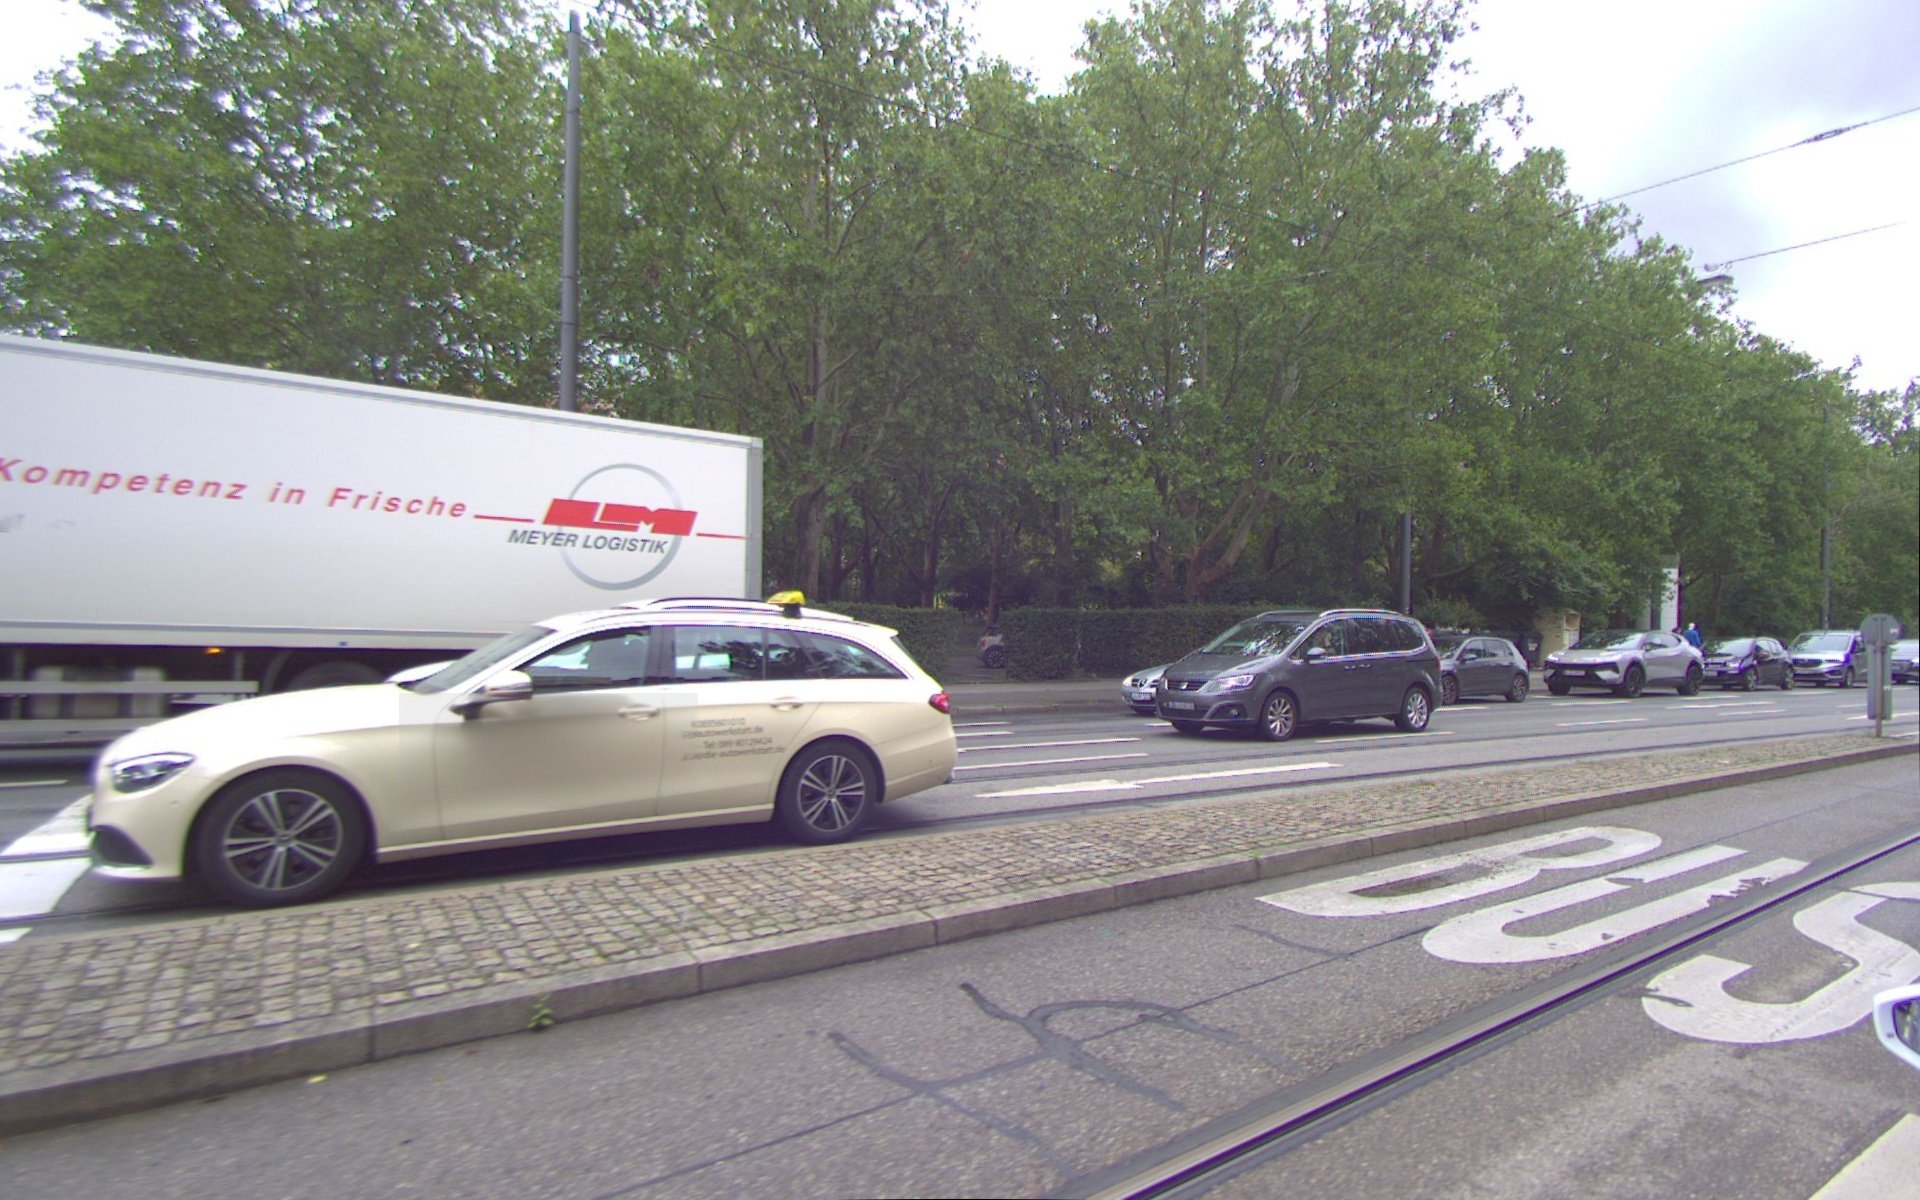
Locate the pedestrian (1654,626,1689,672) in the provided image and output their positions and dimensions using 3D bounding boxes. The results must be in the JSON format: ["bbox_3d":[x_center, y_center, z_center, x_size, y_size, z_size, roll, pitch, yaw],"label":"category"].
[{"bbox_3d":[27.144,1.846,38.338,0.974,1.707,0.662,0,1,-22],"label":"pedestrian"}]

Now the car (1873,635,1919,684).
[{"bbox_3d":[34.443,2.112,35.669,4.536,1.656,1.790,2,-1,-31],"label":"car"}]

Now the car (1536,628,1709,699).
[{"bbox_3d":[17.150,1.610,25.950,4.942,1.664,1.790,2,-1,-31],"label":"car"}]

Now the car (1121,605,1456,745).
[{"bbox_3d":[4.733,0.981,14.230,4.835,1.705,1.813,2,-1,-31],"label":"car"}]

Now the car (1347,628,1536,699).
[{"bbox_3d":[10.536,1.349,21.945,4.052,1.399,1.813,2,-1,-31],"label":"car"}]

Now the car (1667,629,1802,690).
[{"bbox_3d":[23.310,1.754,30.197,4.304,1.689,1.790,2,-1,-31],"label":"car"}]

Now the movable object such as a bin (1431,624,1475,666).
[{"bbox_3d":[17.127,1.564,34.897,1.072,1.371,0.928,2,2,-35],"label":"movable object such as a bin"}]

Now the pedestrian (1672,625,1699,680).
[{"bbox_3d":[27.202,1.961,37.666,0.669,2.040,0.584,2,-1,-30],"label":"pedestrian"}]

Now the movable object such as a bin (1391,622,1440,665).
[{"bbox_3d":[15.195,1.436,33.486,1.265,1.371,0.928,2,1,-35],"label":"movable object such as a bin"}]

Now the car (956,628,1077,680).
[{"bbox_3d":[1.948,1.830,34.179,3.836,1.664,1.676,2,-1,-30],"label":"car"}]

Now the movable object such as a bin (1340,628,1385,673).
[{"bbox_3d":[12.802,1.608,31.951,1.003,1.371,0.928,2,0,-35],"label":"movable object such as a bin"}]

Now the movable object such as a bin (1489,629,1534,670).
[{"bbox_3d":[19.787,1.754,36.031,1.147,1.371,0.928,2,2,-35],"label":"movable object such as a bin"}]

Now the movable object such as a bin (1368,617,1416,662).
[{"bbox_3d":[14.054,1.291,32.656,1.118,1.371,0.928,2,2,-35],"label":"movable object such as a bin"}]

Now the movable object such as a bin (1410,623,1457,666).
[{"bbox_3d":[16.173,1.509,34.309,1.072,1.371,0.928,2,4,-35],"label":"movable object such as a bin"}]

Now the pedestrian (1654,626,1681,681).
[{"bbox_3d":[26.915,2.020,38.204,0.669,2.040,0.584,2,-1,-30],"label":"pedestrian"}]

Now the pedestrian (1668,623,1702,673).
[{"bbox_3d":[27.217,1.802,37.691,0.806,1.813,0.662,2,0,-22],"label":"pedestrian"}]

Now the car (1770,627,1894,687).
[{"bbox_3d":[28.440,1.839,32.723,4.421,1.803,1.790,2,-1,-31],"label":"car"}]

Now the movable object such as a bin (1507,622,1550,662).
[{"bbox_3d":[20.801,1.524,36.749,1.147,1.371,0.928,2,2,-35],"label":"movable object such as a bin"}]

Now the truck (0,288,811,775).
[{"bbox_3d":[-7.420,-0.493,10.286,11.590,4.033,2.724,2,-2,-33],"label":"truck"}]

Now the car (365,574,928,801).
[{"bbox_3d":[-2.866,0.724,9.655,4.838,1.705,1.904,2,-1,-33],"label":"car"}]

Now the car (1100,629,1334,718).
[{"bbox_3d":[4.644,1.283,18.003,4.056,1.429,1.723,2,-4,-31],"label":"car"}]

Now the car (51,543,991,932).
[{"bbox_3d":[-2.306,0.655,6.375,4.838,1.660,1.812,2,-1,-33],"label":"car"}]
